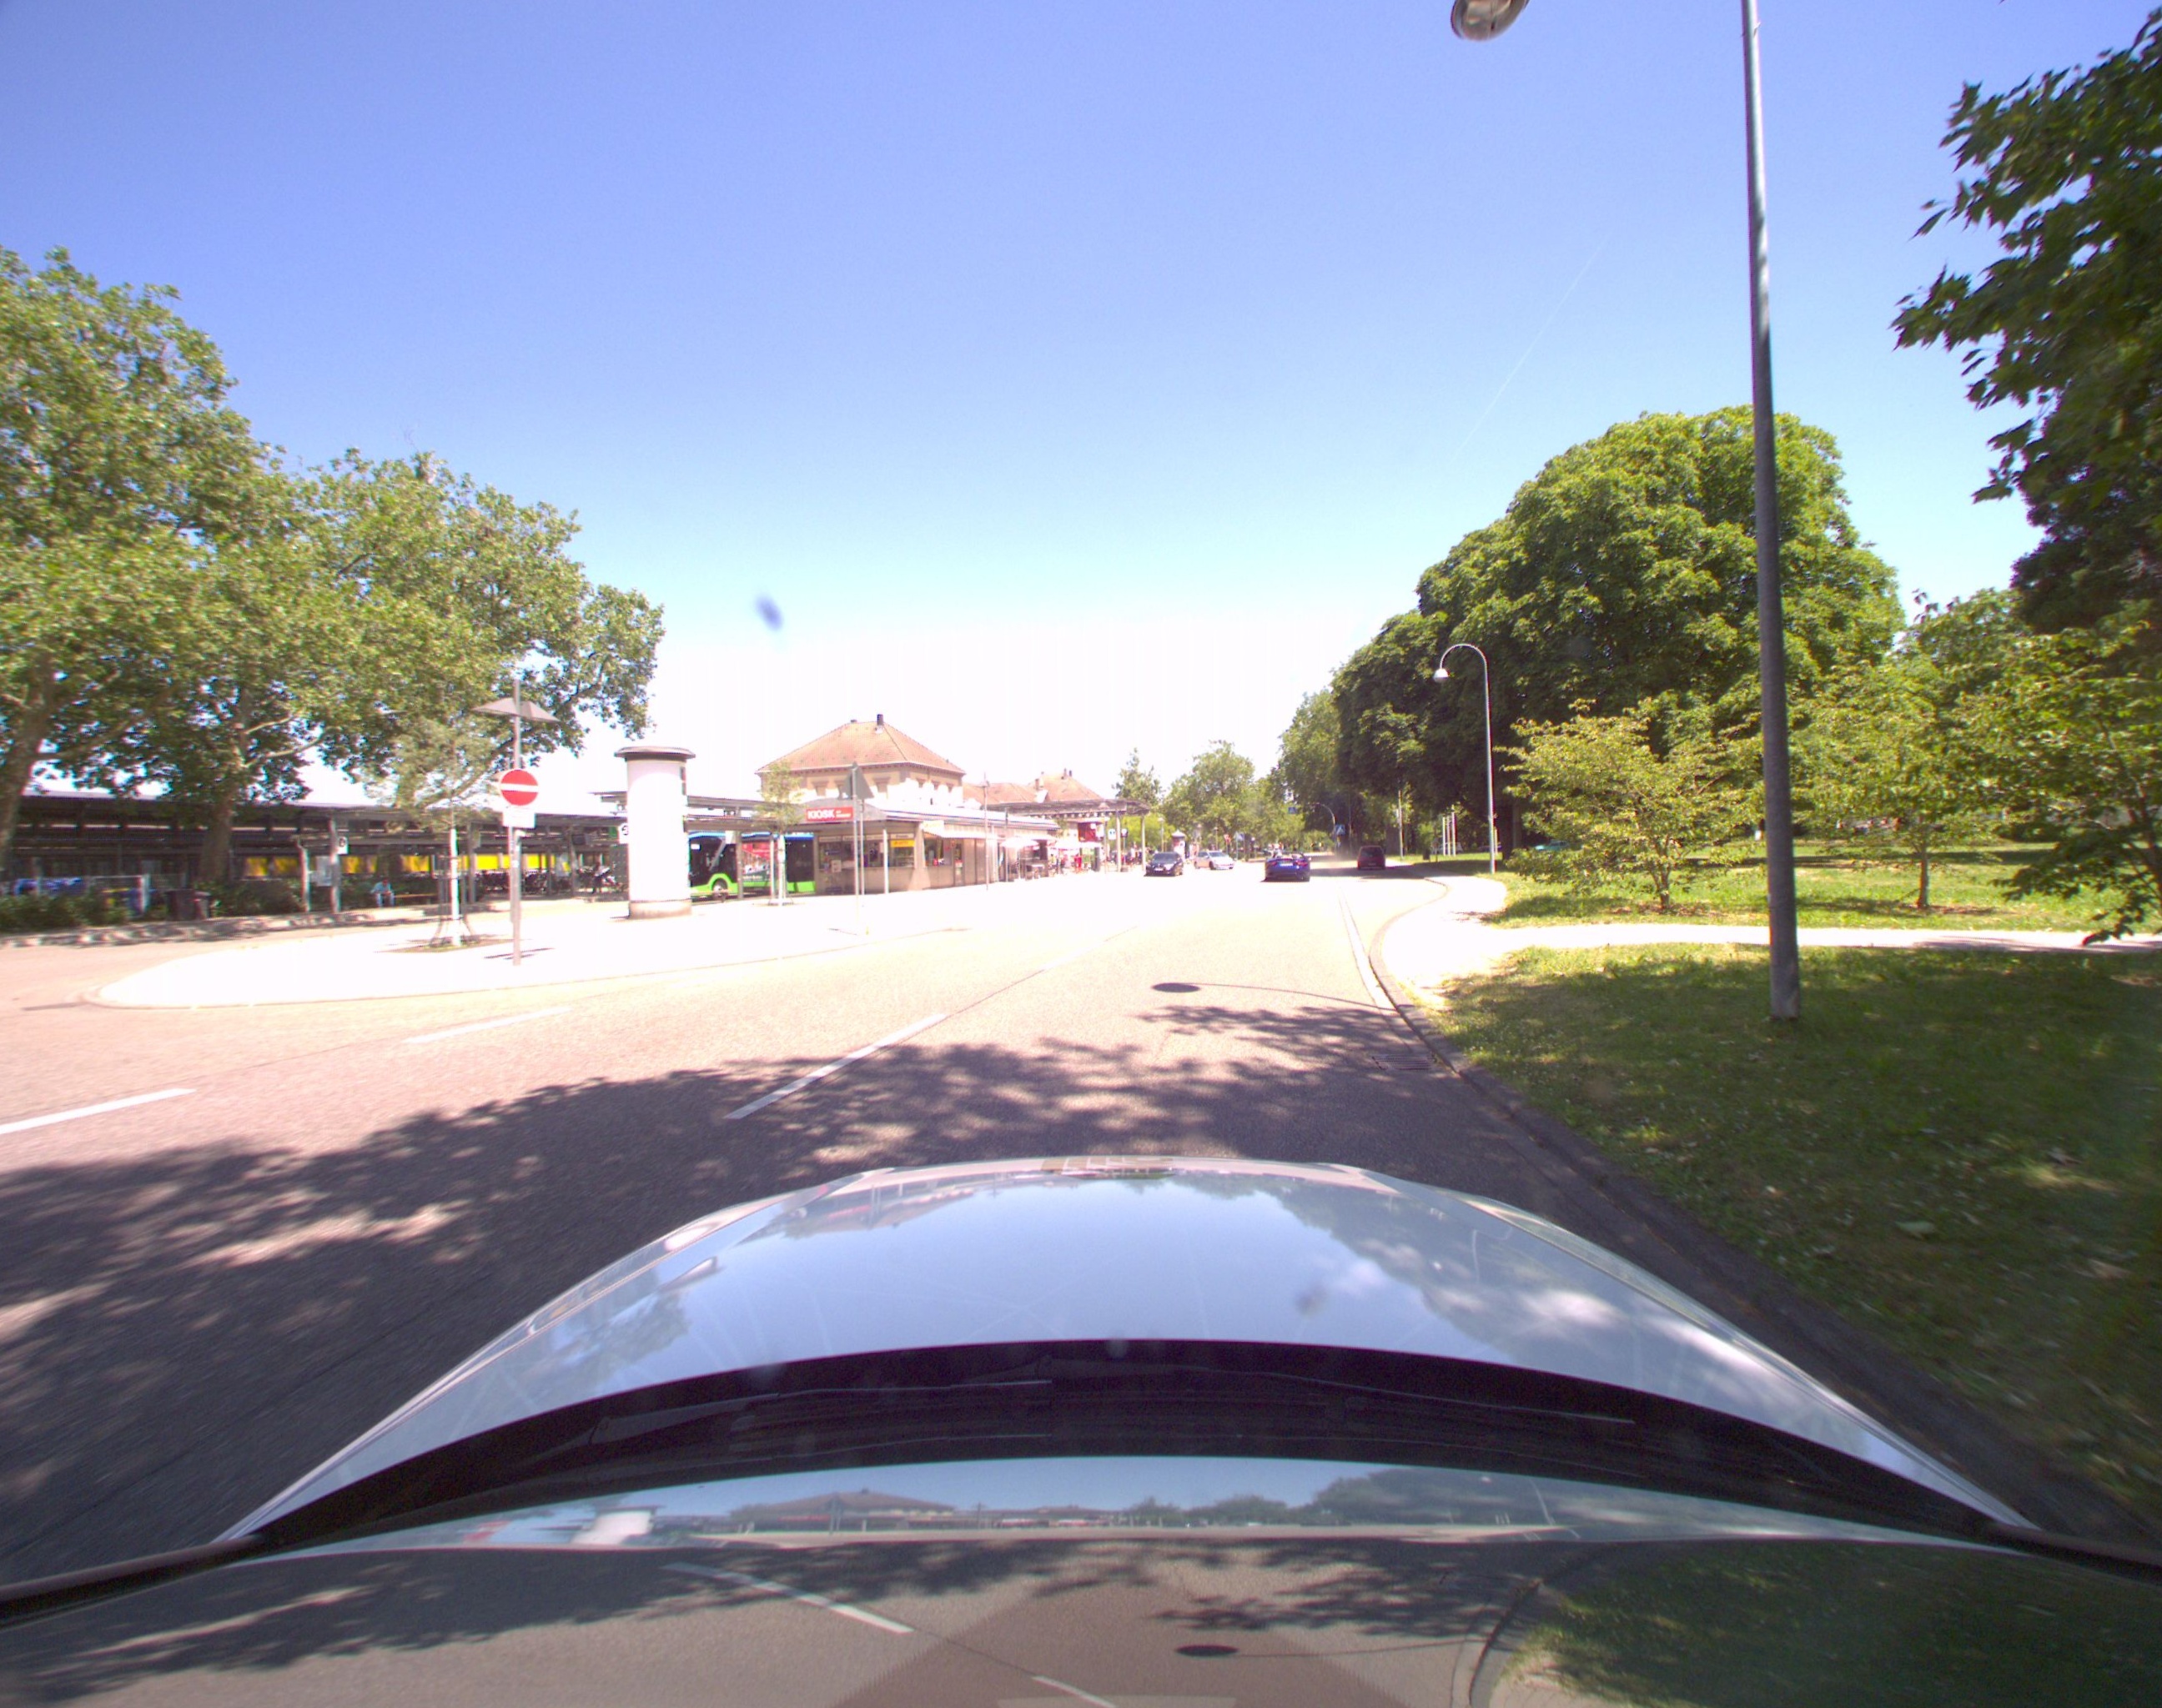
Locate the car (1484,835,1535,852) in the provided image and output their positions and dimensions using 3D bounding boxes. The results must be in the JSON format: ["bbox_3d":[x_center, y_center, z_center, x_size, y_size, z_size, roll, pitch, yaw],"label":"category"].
[{"bbox_3d":[47.862,-1.172,90.983,4.783,1.607,2.010,-2,0,20],"label":"car"}]

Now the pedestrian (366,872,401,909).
[{"bbox_3d":[-28.227,1.470,32.968,0.601,1.463,0.825,-2,0,13],"label":"pedestrian"}]

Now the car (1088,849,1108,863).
[{"bbox_3d":[2.511,0.253,121.561,1.738,1.917,4.796,-2,1,16],"label":"car"}]

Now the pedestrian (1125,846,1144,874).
[{"bbox_3d":[3.597,0.398,54.729,0.792,1.828,1.149,-3,-2,33],"label":"pedestrian"}]

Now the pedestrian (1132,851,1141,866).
[{"bbox_3d":[6.203,0.474,91.103,0.753,1.659,0.725,-3,-2,33],"label":"pedestrian"}]

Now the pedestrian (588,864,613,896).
[{"bbox_3d":[-25.034,1.337,42.432,0.817,1.617,0.767,-1,-2,-3],"label":"pedestrian"}]

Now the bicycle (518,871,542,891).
[{"bbox_3d":[-31.808,1.574,47.012,1.370,1.094,0.388,-2,-2,17],"label":"bicycle"}]

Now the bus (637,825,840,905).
[{"bbox_3d":[-16.968,0.456,42.012,2.145,3.526,12.279,-1,0,17],"label":"bus"}]

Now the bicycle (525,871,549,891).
[{"bbox_3d":[-31.689,1.582,47.412,1.370,1.094,0.388,-2,-2,17],"label":"bicycle"}]

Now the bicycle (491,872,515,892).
[{"bbox_3d":[-33.374,1.617,47.030,1.370,1.094,0.388,-2,-2,17],"label":"bicycle"}]

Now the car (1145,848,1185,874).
[{"bbox_3d":[5.268,0.424,50.589,1.706,1.478,4.805,-2,0,15],"label":"car"}]

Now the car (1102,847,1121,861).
[{"bbox_3d":[4.821,0.001,128.335,1.979,2.013,4.016,-2,1,14],"label":"car"}]

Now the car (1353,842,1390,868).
[{"bbox_3d":[17.724,0.064,49.750,1.706,1.478,3.720,-2,0,14],"label":"car"}]

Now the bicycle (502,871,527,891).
[{"bbox_3d":[-32.125,1.558,46.190,1.370,1.094,0.388,-2,-2,18],"label":"bicycle"}]

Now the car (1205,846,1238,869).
[{"bbox_3d":[10.742,0.249,62.053,1.801,1.444,4.177,-5,0,17],"label":"car"}]

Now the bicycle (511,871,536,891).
[{"bbox_3d":[-31.926,1.565,46.618,1.370,1.094,0.388,-2,-2,17],"label":"bicycle"}]

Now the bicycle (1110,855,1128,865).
[{"bbox_3d":[4.131,0.682,88.578,1.791,1.030,0.487,-1,0,-7],"label":"bicycle"}]

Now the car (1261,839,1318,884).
[{"bbox_3d":[9.278,0.304,36.044,2.108,1.848,4.067,-1,0,19],"label":"car"}]

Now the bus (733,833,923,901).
[{"bbox_3d":[-12.811,0.585,43.697,2.655,3.041,13.947,-2,0,15],"label":"bus"}]

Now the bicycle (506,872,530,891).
[{"bbox_3d":[-33.099,1.634,47.850,1.370,1.094,0.388,-2,-2,17],"label":"bicycle"}]

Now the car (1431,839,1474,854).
[{"bbox_3d":[42.409,-0.841,93.056,4.074,1.466,2.008,-2,0,15],"label":"car"}]

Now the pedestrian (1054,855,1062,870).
[{"bbox_3d":[-2.556,0.943,90.600,0.659,1.673,0.625,0,-2,-30],"label":"pedestrian"}]

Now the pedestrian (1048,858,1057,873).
[{"bbox_3d":[-1.970,0.783,56.122,0.420,0.972,0.374,-3,-2,29],"label":"pedestrian"}]

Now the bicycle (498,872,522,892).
[{"bbox_3d":[-33.239,1.626,47.443,1.370,1.094,0.388,-2,-2,17],"label":"bicycle"}]
